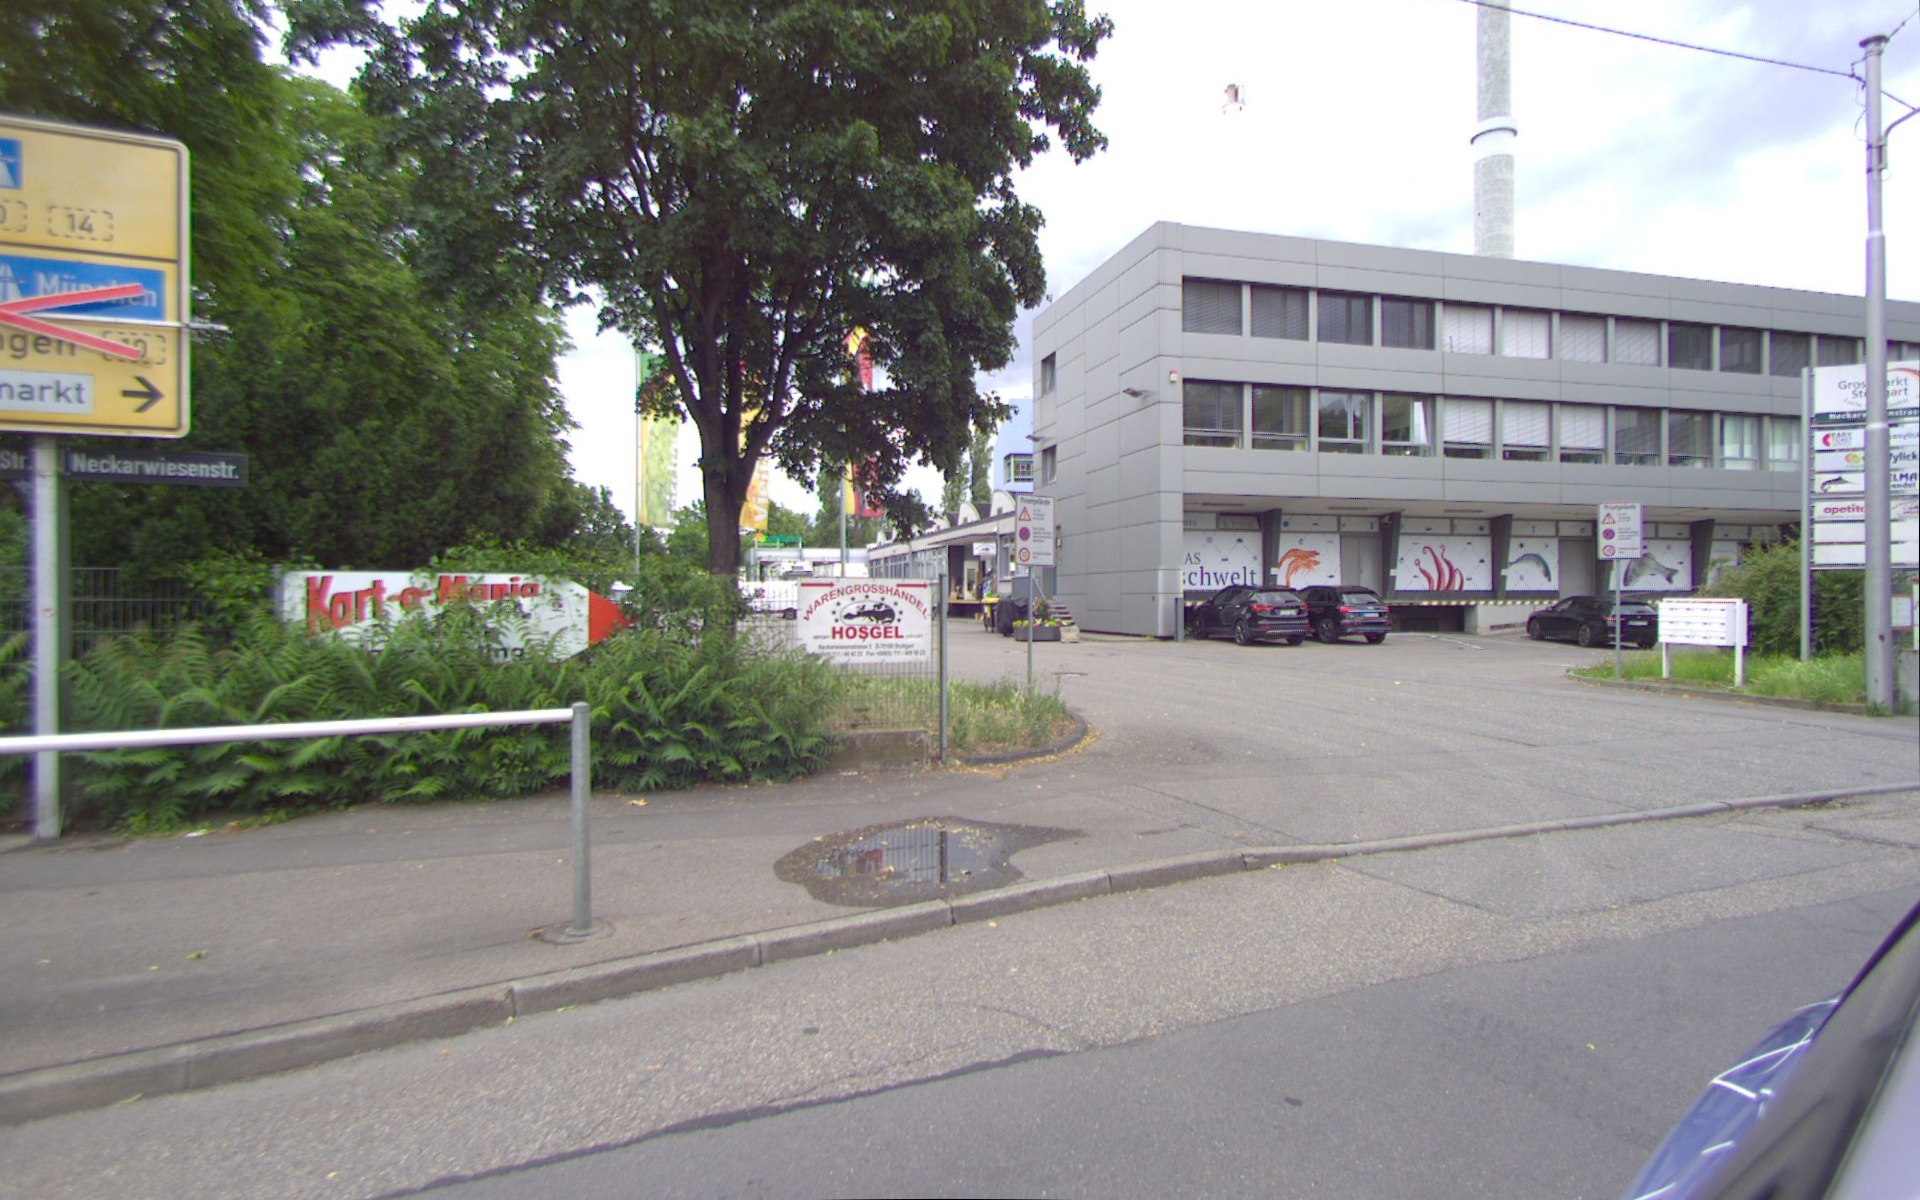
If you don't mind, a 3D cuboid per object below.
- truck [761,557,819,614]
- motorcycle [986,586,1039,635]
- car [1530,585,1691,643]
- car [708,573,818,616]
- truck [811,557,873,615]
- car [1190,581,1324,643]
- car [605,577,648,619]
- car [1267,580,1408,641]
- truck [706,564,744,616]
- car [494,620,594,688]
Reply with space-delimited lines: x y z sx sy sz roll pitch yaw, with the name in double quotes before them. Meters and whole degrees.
"truck" -13.428 -1.019 78.661 2.792 3.983 15.761 0 0 -16
"motorcycle" 1.929 0.361 36.437 1.181 1.676 2.876 0 0 19
"car" 19.414 0.358 30.510 2.014 1.463 4.825 0 2 5
"car" -13.002 -0.358 66.819 7.004 2.767 2.248 0 0 -14
"truck" -9.515 -1.012 79.654 2.812 4.076 15.882 0 0 -14
"car" 8.557 0.276 29.585 1.800 1.638 4.475 0 2 -12
"car" -21.226 -0.146 64.644 2.262 2.511 6.940 0 0 -15
"car" 11.217 0.250 30.469 1.800 1.638 4.433 0 2 -13
"truck" -20.130 -0.844 86.373 2.936 4.218 9.208 0 0 -14
"car" -8.958 1.105 22.025 1.673 1.264 3.709 0 0 -17
